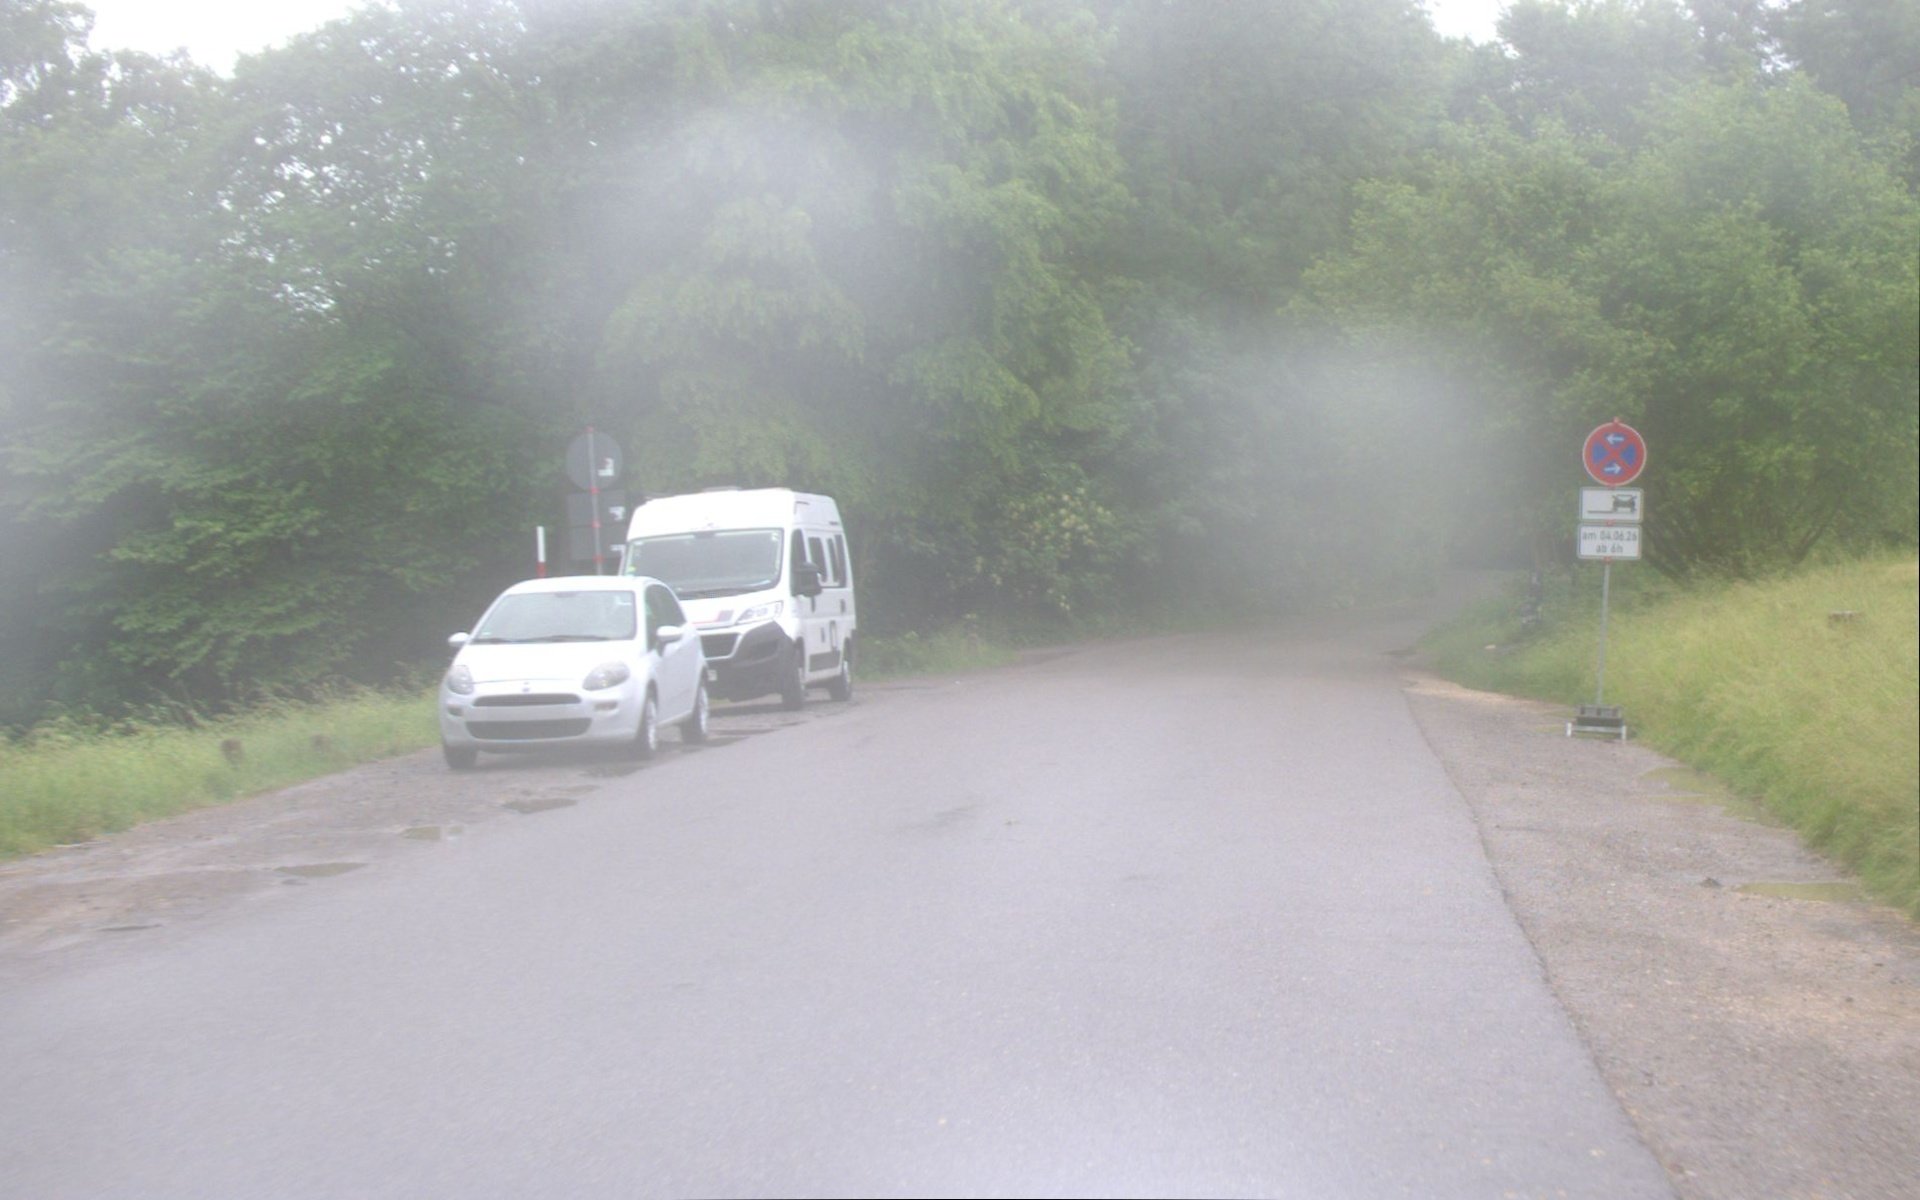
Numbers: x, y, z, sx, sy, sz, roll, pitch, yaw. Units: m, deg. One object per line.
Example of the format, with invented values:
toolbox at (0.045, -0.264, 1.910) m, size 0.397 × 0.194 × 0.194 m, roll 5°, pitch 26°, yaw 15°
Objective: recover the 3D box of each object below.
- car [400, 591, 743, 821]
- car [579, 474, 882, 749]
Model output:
car at (-3.129, 0.813, 28.659) m, size 1.861 × 1.590 × 4.494 m, roll -3°, pitch 1°, yaw 6°
car at (-2.448, 0.052, 38.559) m, size 2.273 × 2.688 × 6.048 m, roll -4°, pitch 1°, yaw 5°
